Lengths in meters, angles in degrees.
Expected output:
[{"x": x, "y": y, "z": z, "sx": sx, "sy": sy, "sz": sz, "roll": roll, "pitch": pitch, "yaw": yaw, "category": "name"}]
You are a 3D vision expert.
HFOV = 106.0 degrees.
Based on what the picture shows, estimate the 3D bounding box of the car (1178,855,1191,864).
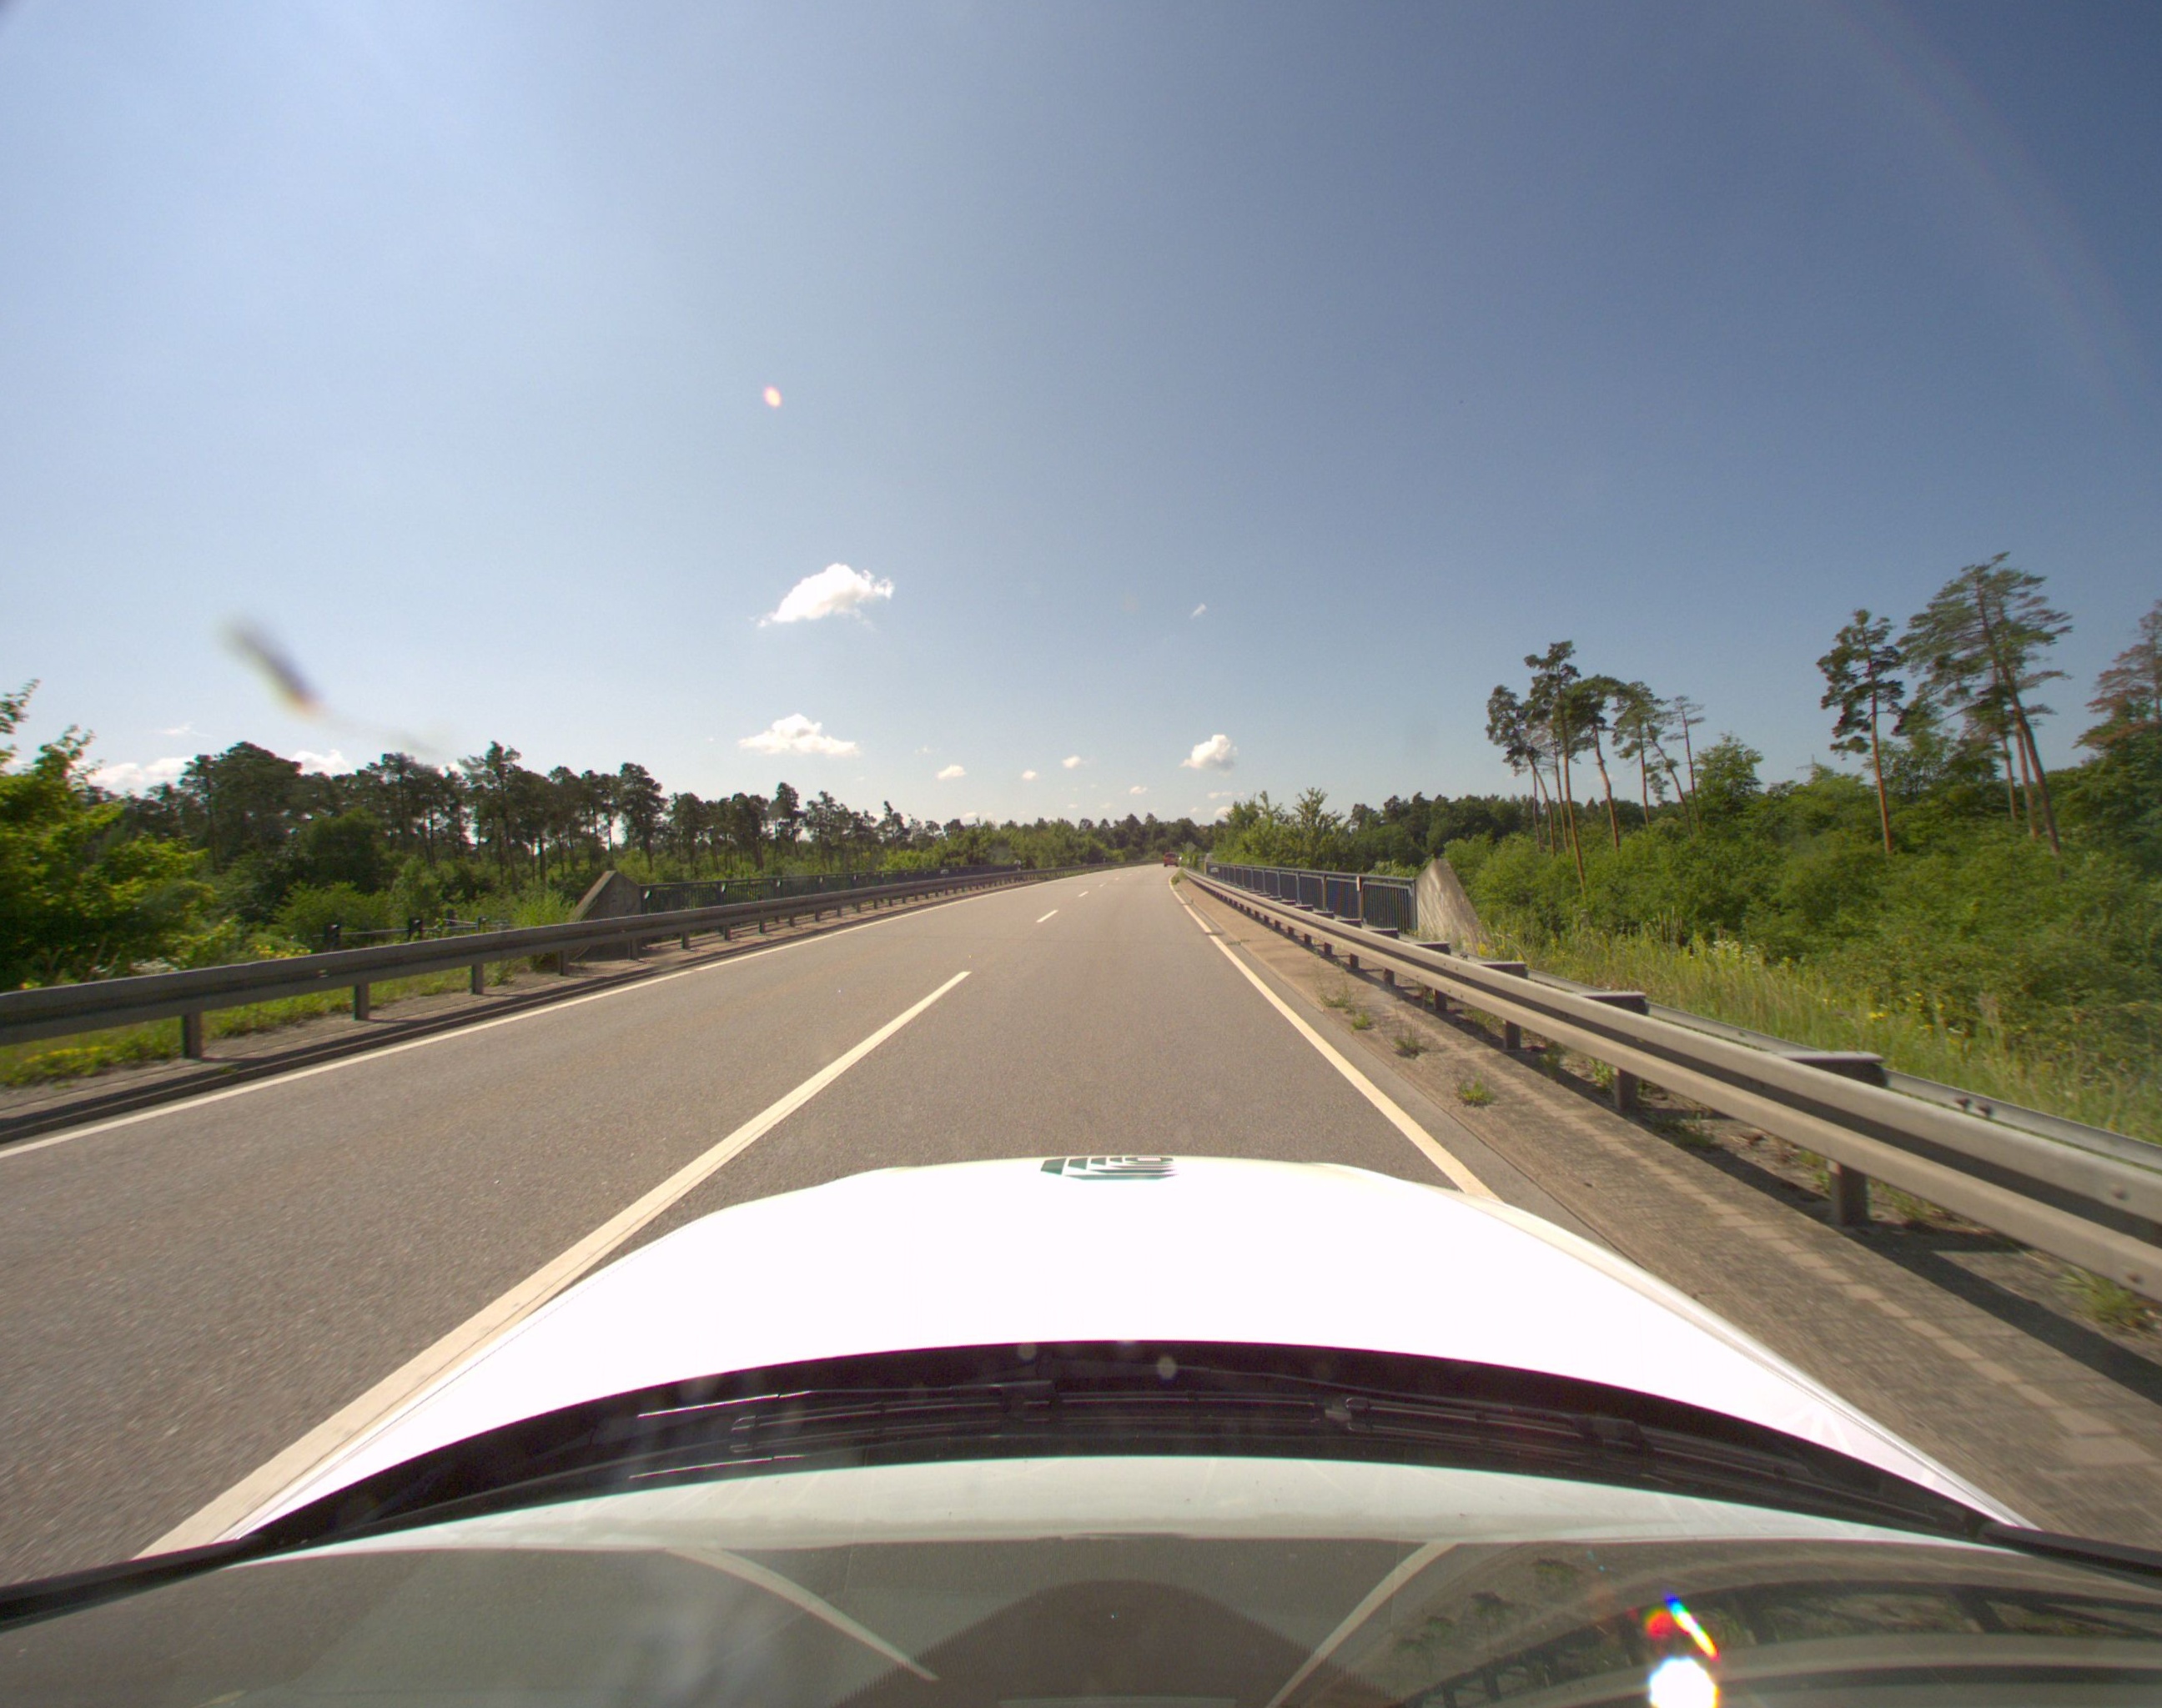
[{"x": 17.311, "y": 0.999, "z": 136.201, "sx": 1.997, "sy": 1.494, "sz": 4.245, "roll": 0, "pitch": -1, "yaw": 5, "category": "car"}]

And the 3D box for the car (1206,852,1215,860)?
[{"x": 30.871, "y": 0.528, "z": 194.170, "sx": 2.172, "sy": 1.955, "sz": 5.817, "roll": 1, "pitch": 0, "yaw": 8, "category": "car"}]

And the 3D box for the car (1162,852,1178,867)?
[{"x": 12.437, "y": 0.784, "z": 113.878, "sx": 2.067, "sy": 1.993, "sz": 5.119, "roll": 0, "pitch": -1, "yaw": 5, "category": "car"}]
